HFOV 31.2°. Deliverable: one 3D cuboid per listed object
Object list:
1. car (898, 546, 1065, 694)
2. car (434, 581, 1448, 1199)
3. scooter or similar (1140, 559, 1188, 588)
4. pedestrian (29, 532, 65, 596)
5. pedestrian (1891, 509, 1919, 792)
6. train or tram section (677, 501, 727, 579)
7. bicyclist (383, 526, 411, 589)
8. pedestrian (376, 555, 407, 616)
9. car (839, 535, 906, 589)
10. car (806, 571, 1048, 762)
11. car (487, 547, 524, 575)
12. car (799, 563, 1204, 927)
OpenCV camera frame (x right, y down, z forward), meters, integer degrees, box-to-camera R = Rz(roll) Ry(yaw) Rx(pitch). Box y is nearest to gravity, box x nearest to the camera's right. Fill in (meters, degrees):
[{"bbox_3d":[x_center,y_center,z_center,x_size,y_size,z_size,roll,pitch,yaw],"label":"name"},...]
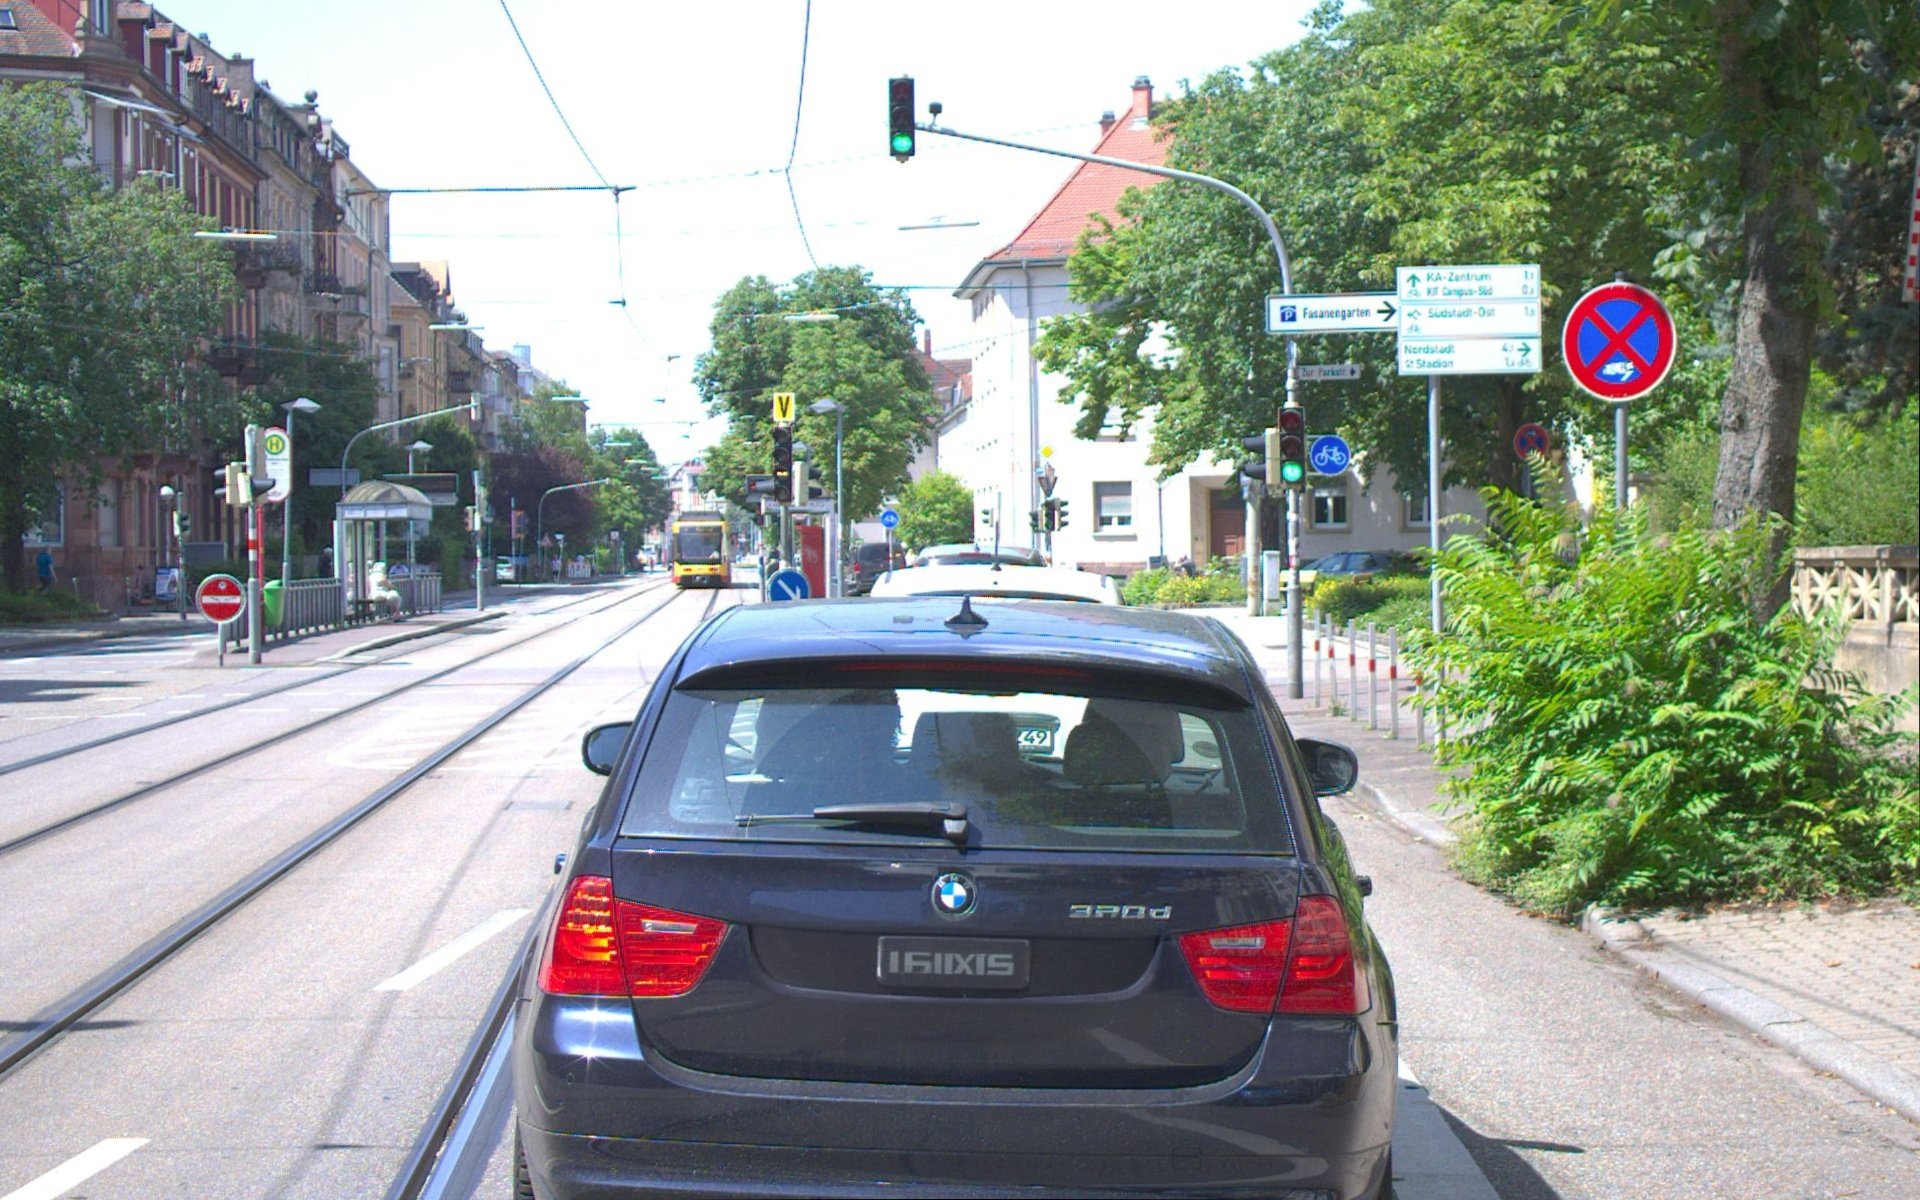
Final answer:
[{"bbox_3d":[0.225,0.174,36.931,1.691,1.508,3.821,0,1,0],"label":"car"},{"bbox_3d":[0.021,0.710,8.212,1.722,1.404,4.565,2,1,2],"label":"car"},{"bbox_3d":[5.971,-0.771,100.531,1.311,0.834,0.527,-1,1,-9],"label":"scooter or similar"},{"bbox_3d":[-25.900,-1.032,97.529,0.738,1.805,0.640,-1,1,-44],"label":"pedestrian"},{"bbox_3d":[6.005,0.284,20.217,0.857,1.640,0.836,-1,1,4],"label":"pedestrian"},{"bbox_3d":[-11.729,-2.739,156.764,2.190,3.470,8.847,-1,1,-4],"label":"train or tram section"},{"bbox_3d":[-16.729,-1.260,102.171,0.722,1.864,0.825,-1,1,-5],"label":"bicyclist"},{"bbox_3d":[-11.784,-0.307,71.265,0.613,1.238,0.628,-1,1,-9],"label":"pedestrian"},{"bbox_3d":[-3.124,-1.361,121.794,1.993,1.842,4.001,-1,1,-7],"label":"car"},{"bbox_3d":[-0.317,0.454,26.244,1.691,1.318,3.822,0,1,-3],"label":"car"},{"bbox_3d":[-25.846,-2.205,195.467,1.787,1.580,4.001,1,0,-12],"label":"car"},{"bbox_3d":[0.169,0.587,16.262,1.685,1.479,3.685,-1,1,0],"label":"car"}]
